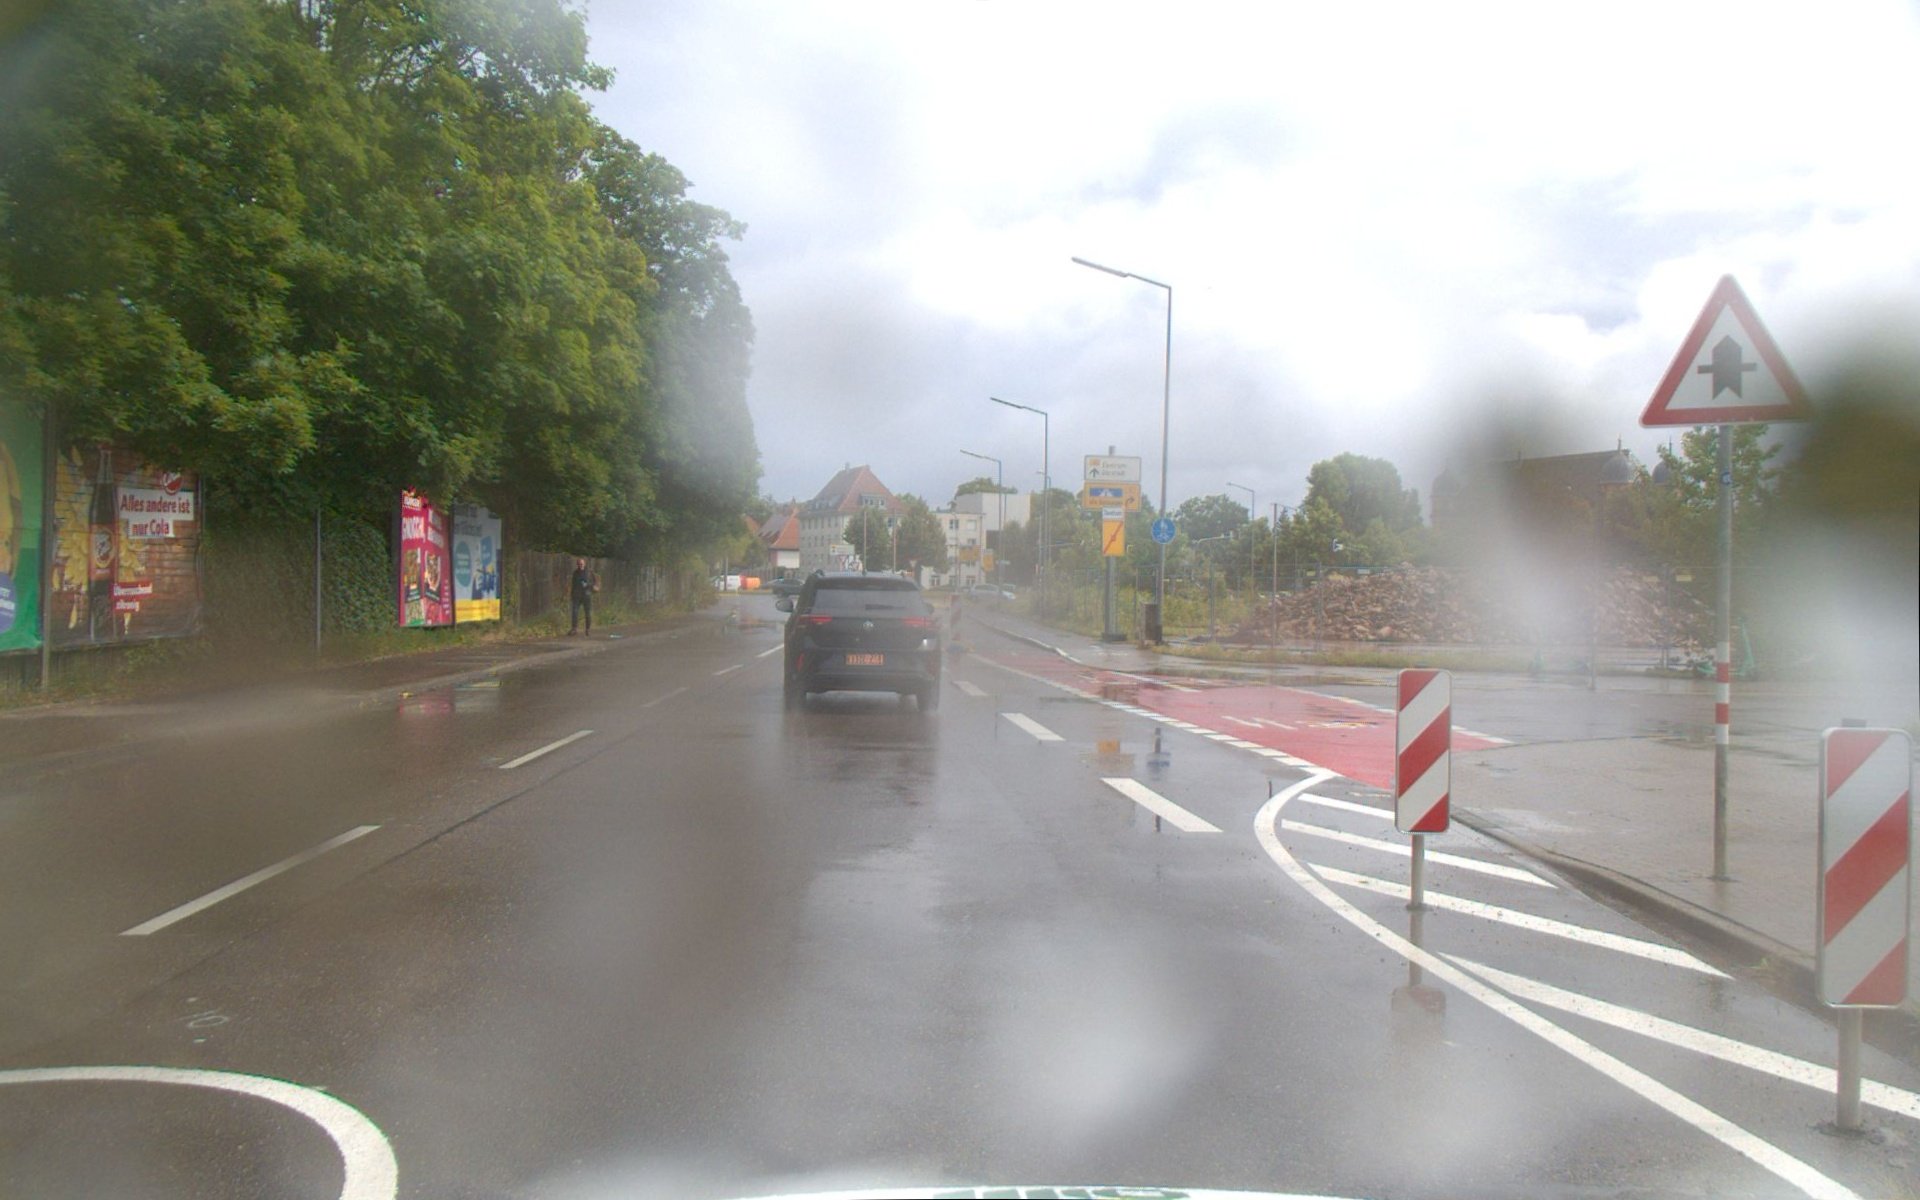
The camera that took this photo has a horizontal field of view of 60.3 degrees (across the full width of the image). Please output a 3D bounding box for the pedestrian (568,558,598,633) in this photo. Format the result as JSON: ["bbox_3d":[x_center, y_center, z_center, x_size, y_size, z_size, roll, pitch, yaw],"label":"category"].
[{"bbox_3d":[-8.931,-0.110,39.207,0.513,1.730,0.566,3,2,-3],"label":"pedestrian"}]

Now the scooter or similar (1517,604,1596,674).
[{"bbox_3d":[11.291,0.724,31.327,1.260,1.207,0.501,5,3,39],"label":"scooter or similar"}]

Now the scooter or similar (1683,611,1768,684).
[{"bbox_3d":[13.964,0.860,30.168,1.260,1.207,0.501,5,3,39],"label":"scooter or similar"}]

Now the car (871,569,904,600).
[{"bbox_3d":[-4.130,-0.879,93.866,1.804,1.670,4.013,1,0,-3],"label":"car"}]

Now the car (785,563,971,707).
[{"bbox_3d":[-1.089,0.379,19.858,1.949,1.547,3.994,0,0,-7],"label":"car"}]

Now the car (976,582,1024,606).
[{"bbox_3d":[3.233,-0.510,135.374,3.905,1.932,1.825,0,0,0],"label":"car"}]

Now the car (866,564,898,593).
[{"bbox_3d":[-4.916,-1.345,103.888,1.956,1.732,4.013,1,0,-3],"label":"car"}]
